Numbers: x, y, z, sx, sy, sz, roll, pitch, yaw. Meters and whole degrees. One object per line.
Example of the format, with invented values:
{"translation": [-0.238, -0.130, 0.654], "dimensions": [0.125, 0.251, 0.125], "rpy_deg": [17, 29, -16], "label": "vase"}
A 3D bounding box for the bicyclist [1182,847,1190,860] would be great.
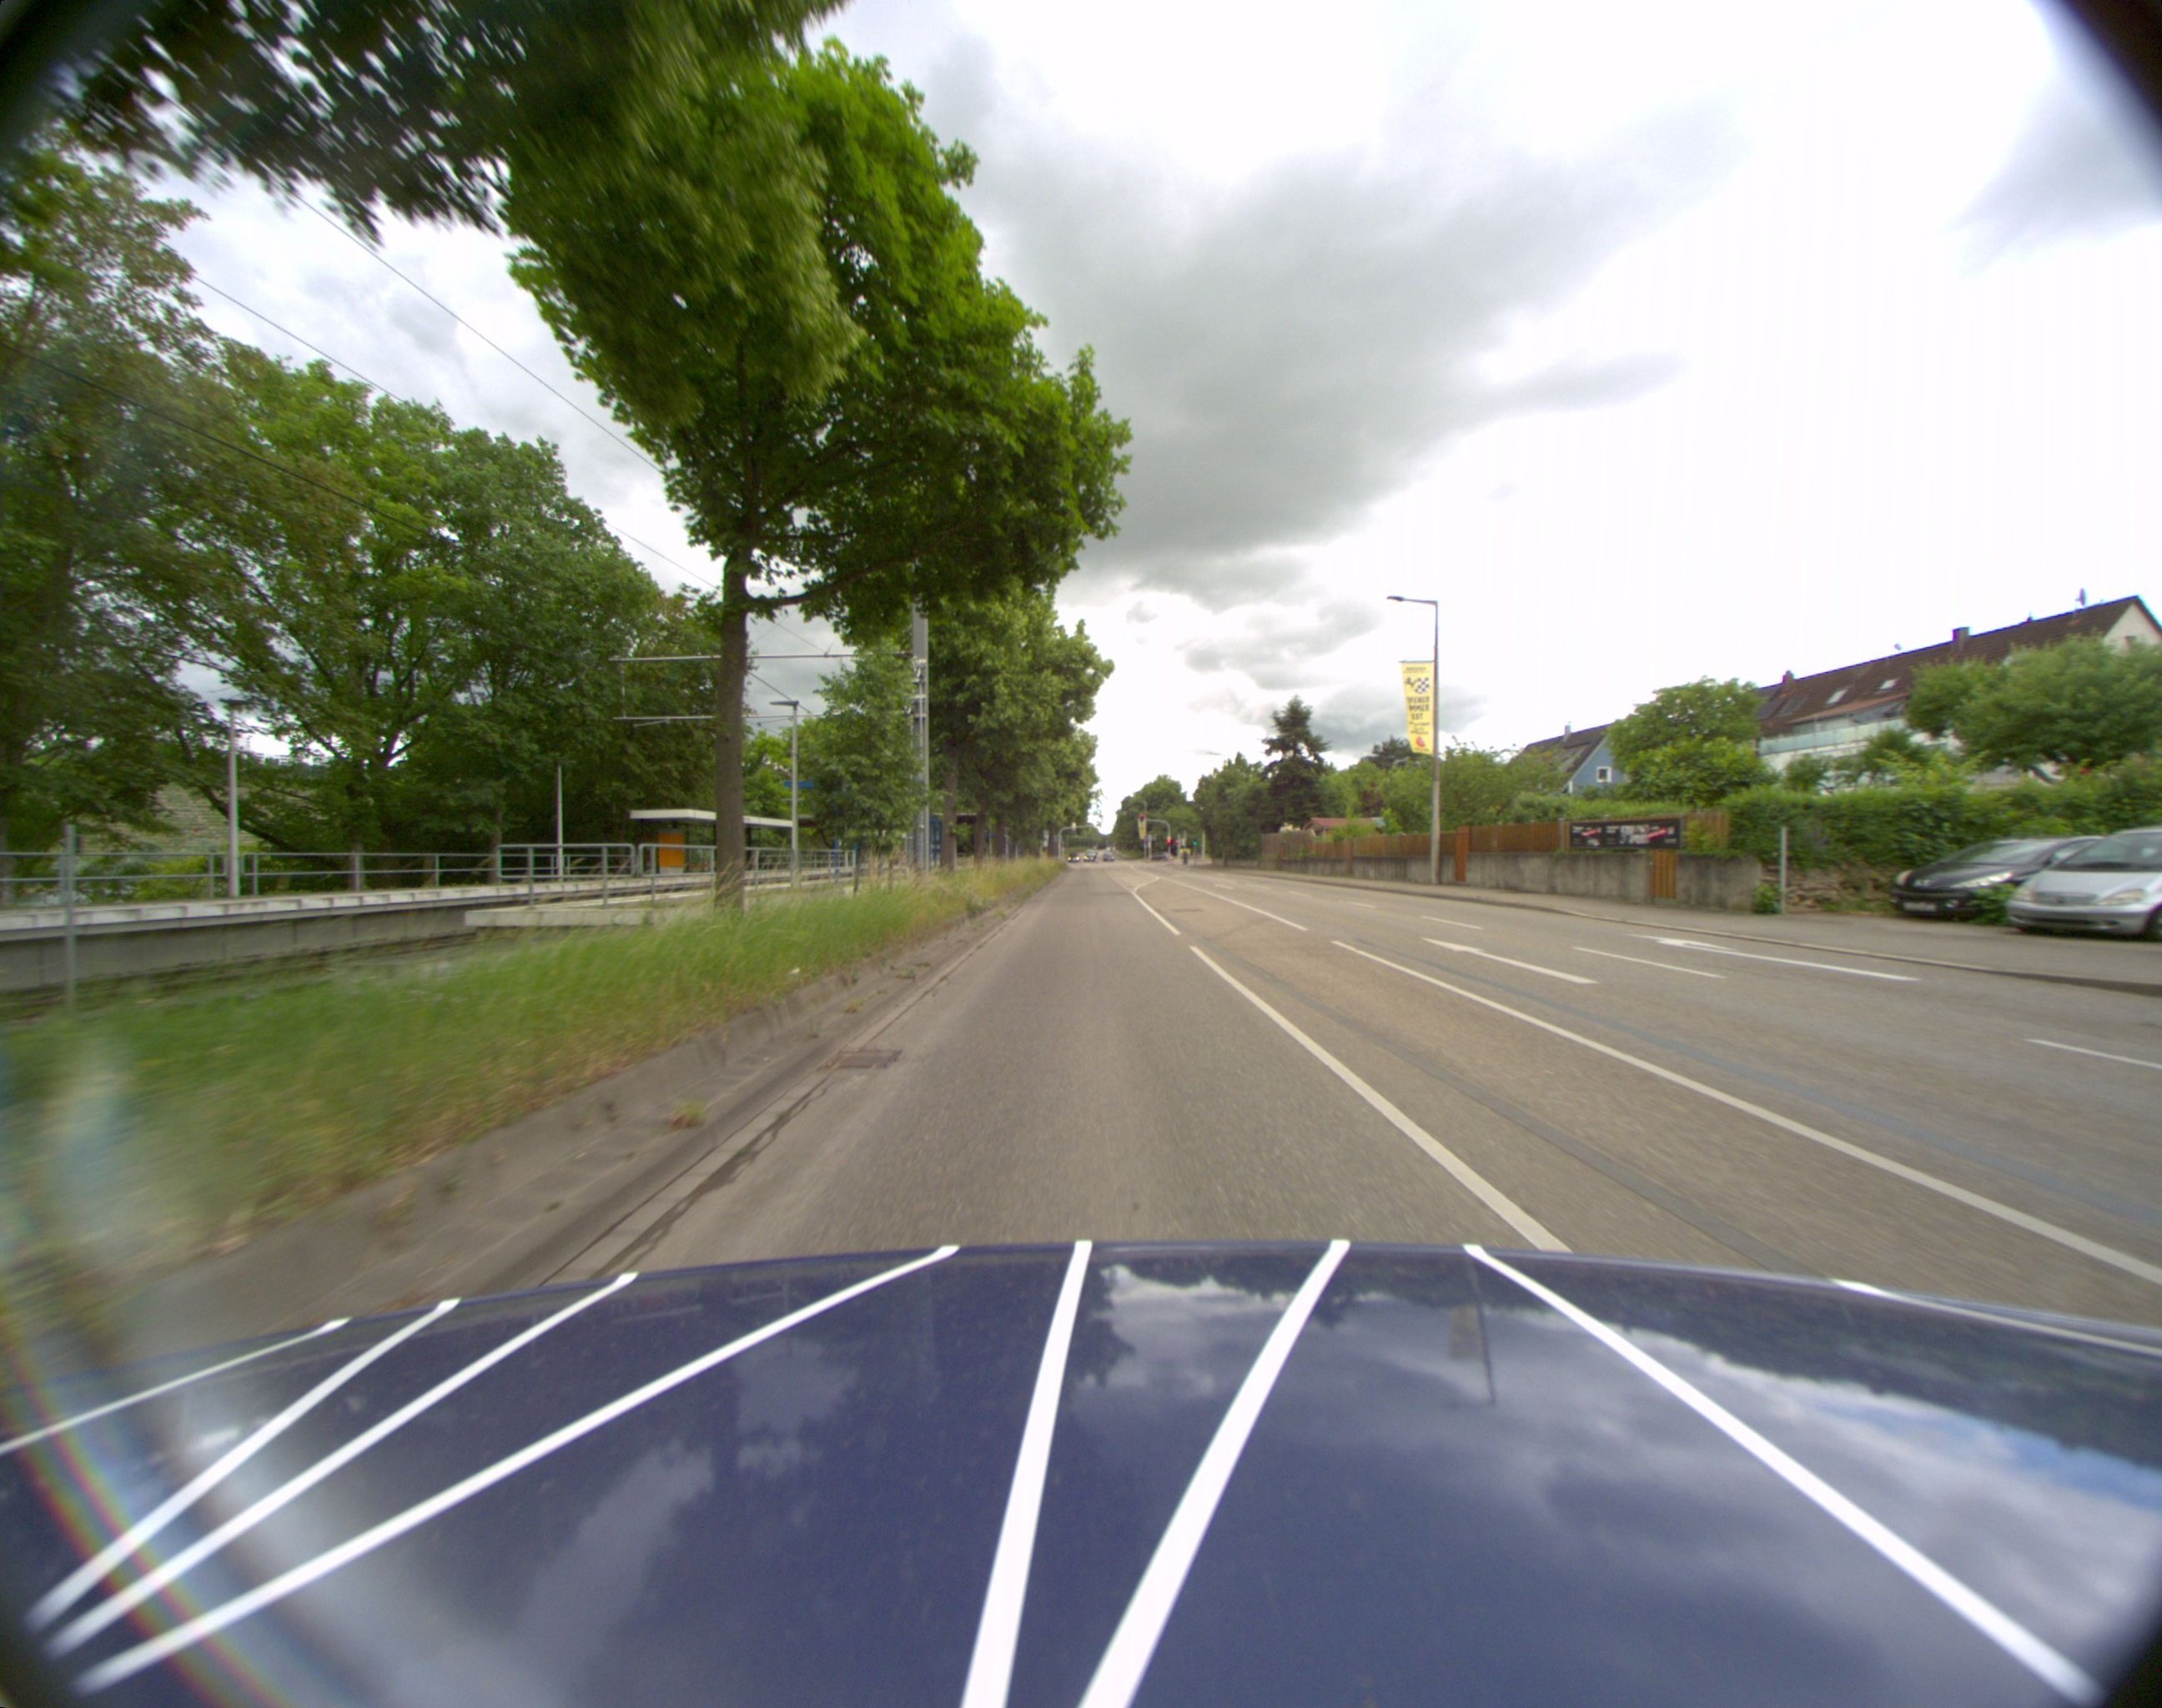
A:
{"translation": [12.543, -0.085, 90.936], "dimensions": [0.644, 1.526, 0.978], "rpy_deg": [-2, 1, -4], "label": "bicyclist"}

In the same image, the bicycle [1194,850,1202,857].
{"translation": [20.263, -0.106, 131.630], "dimensions": [0.544, 1.245, 1.939], "rpy_deg": [-1, 2, 38], "label": "bicycle"}

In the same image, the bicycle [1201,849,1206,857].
{"translation": [21.129, -0.134, 131.264], "dimensions": [0.544, 1.245, 1.937], "rpy_deg": [-2, 1, 17], "label": "bicycle"}

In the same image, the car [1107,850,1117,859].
{"translation": [5.241, 0.099, 128.150], "dimensions": [1.560, 1.458, 3.807], "rpy_deg": [1, 1, 0], "label": "car"}

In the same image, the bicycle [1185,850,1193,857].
{"translation": [18.897, -0.072, 132.722], "dimensions": [0.544, 1.245, 1.939], "rpy_deg": [-1, 2, 38], "label": "bicycle"}

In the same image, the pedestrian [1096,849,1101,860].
{"translation": [2.758, 0.088, 119.417], "dimensions": [0.753, 1.727, 0.840], "rpy_deg": [2, 1, 5], "label": "pedestrian"}

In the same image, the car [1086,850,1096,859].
{"translation": [1.678, 0.099, 128.741], "dimensions": [1.708, 1.472, 3.667], "rpy_deg": [-1, 1, 0], "label": "car"}

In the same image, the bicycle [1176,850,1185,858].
{"translation": [17.500, -0.029, 133.429], "dimensions": [0.544, 1.245, 1.939], "rpy_deg": [-1, 2, 38], "label": "bicycle"}

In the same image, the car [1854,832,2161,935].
{"translation": [17.096, 0.477, 13.816], "dimensions": [3.996, 1.594, 2.000], "rpy_deg": [-2, 1, 2], "label": "car"}

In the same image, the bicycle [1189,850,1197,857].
{"translation": [19.465, -0.083, 132.100], "dimensions": [0.544, 1.245, 1.939], "rpy_deg": [-1, 2, 38], "label": "bicycle"}

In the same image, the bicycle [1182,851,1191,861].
{"translation": [12.579, 0.245, 90.819], "dimensions": [0.644, 1.138, 2.147], "rpy_deg": [-2, 0, -4], "label": "bicycle"}

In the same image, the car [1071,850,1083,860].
{"translation": [-0.590, 0.124, 127.607], "dimensions": [1.807, 1.520, 3.928], "rpy_deg": [-2, 1, 2], "label": "car"}

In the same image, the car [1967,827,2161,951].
{"translation": [16.433, 0.428, 11.348], "dimensions": [3.996, 1.608, 2.000], "rpy_deg": [-2, 1, 2], "label": "car"}

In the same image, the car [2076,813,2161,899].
{"translation": [21.811, -0.031, 14.207], "dimensions": [3.996, 1.560, 1.775], "rpy_deg": [-2, 1, 2], "label": "car"}

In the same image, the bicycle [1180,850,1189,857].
{"translation": [18.136, -0.049, 133.126], "dimensions": [0.544, 1.245, 1.939], "rpy_deg": [-1, 1, 38], "label": "bicycle"}

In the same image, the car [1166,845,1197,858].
{"translation": [16.609, -0.399, 126.042], "dimensions": [4.733, 1.842, 2.004], "rpy_deg": [-1, 2, 38], "label": "car"}
